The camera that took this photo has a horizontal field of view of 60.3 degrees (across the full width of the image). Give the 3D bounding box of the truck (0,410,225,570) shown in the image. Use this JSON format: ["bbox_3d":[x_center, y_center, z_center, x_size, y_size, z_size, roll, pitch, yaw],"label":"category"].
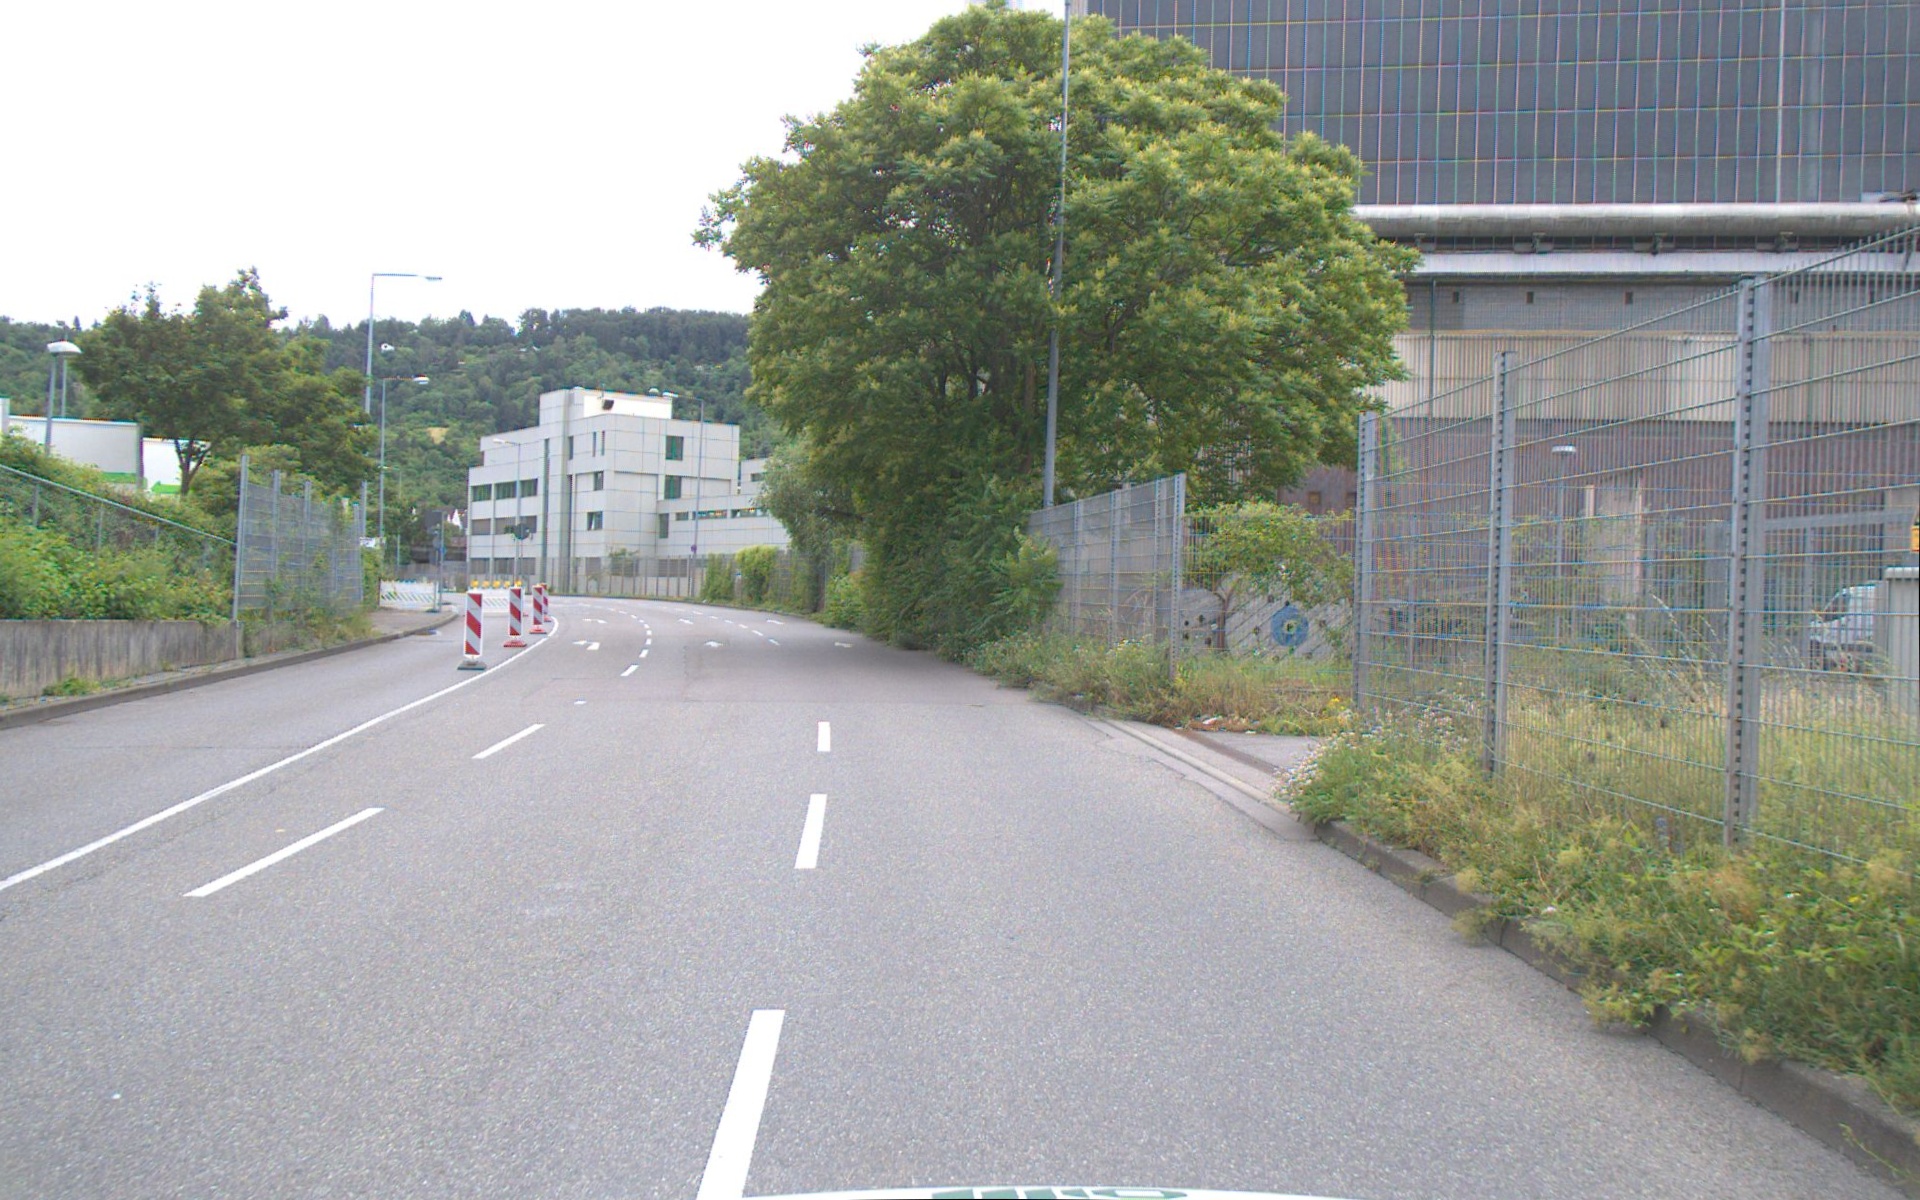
[{"bbox_3d":[-23.287,-2.774,42.192,7.781,3.600,3.012,2,-2,-37],"label":"truck"}]

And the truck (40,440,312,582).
[{"bbox_3d":[-25.363,-2.783,54.009,7.733,4.061,3.031,2,-2,-23],"label":"truck"}]

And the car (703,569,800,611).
[{"bbox_3d":[-12.708,-0.637,100.627,6.047,2.302,1.992,2,-1,36],"label":"car"}]

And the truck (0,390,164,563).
[{"bbox_3d":[-22.671,-2.859,37.693,7.770,3.600,3.016,2,-2,-34],"label":"truck"}]

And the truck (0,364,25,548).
[{"bbox_3d":[-22.973,-3.045,32.280,7.788,3.600,3.010,2,-2,-39],"label":"truck"}]

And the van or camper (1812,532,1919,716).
[{"bbox_3d":[29.608,0.766,43.900,11.595,4.610,5.471,1,-1,-11],"label":"van or camper"}]

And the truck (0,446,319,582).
[{"bbox_3d":[-27.187,-2.818,56.832,9.482,4.061,3.033,2,-2,-21],"label":"truck"}]
